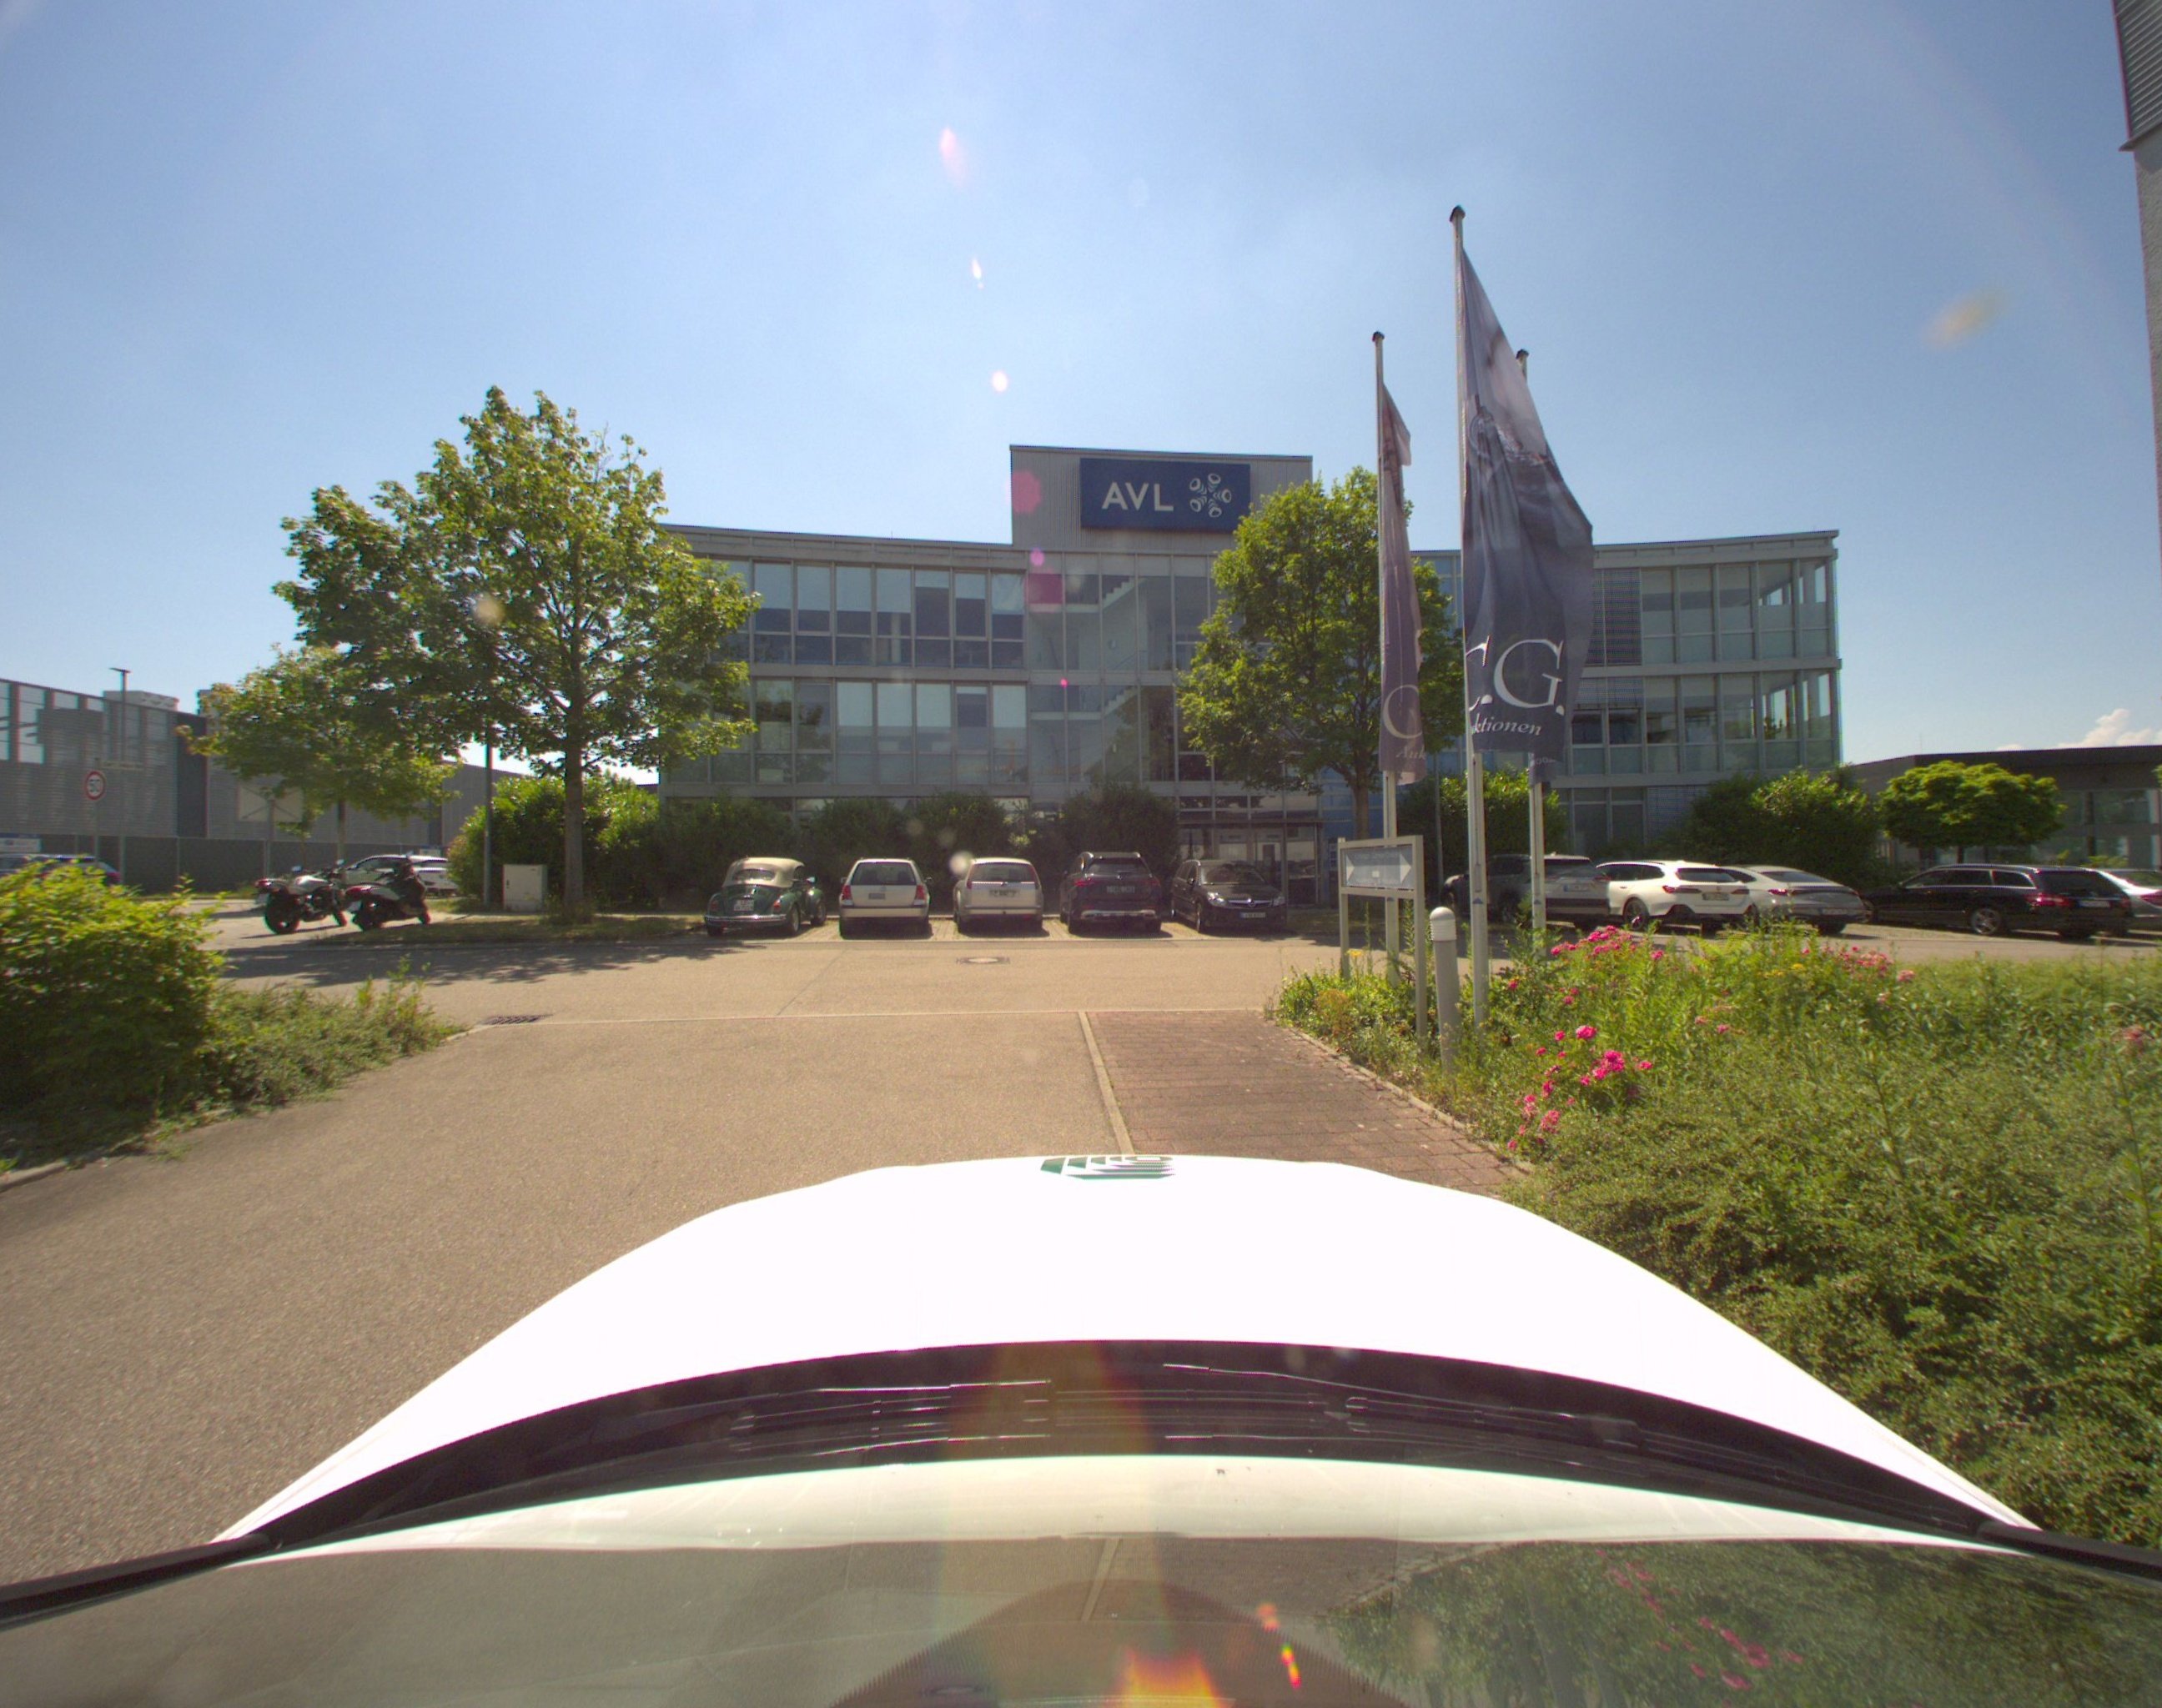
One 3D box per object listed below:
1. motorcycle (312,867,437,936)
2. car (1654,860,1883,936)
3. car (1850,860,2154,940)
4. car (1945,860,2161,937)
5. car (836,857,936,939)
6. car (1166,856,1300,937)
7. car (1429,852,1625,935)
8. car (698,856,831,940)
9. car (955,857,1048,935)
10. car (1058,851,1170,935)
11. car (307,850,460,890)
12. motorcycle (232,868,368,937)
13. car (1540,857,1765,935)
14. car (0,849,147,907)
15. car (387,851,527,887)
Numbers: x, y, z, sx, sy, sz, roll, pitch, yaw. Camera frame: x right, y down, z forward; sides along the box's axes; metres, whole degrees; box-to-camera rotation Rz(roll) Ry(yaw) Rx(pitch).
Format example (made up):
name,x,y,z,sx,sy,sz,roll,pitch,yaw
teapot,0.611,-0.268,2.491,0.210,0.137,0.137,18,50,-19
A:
name,x,y,z,sx,sy,sz,roll,pitch,yaw
motorcycle,-13.004,0.845,15.079,0.712,1.138,1.954,-1,0,-5
car,15.174,0.891,18.342,1.728,1.429,4.345,1,0,4
car,19.672,0.895,17.781,1.728,1.447,4.554,1,0,4
car,22.212,0.897,17.954,1.728,1.447,4.554,1,0,4
car,-3.898,0.812,16.778,1.731,1.449,3.642,0,0,-10
car,3.149,0.815,17.750,1.767,1.482,4.251,-1,0,-5
car,9.885,0.778,18.521,1.817,1.619,4.331,-1,0,-5
car,-6.185,0.789,16.302,1.539,1.449,3.646,0,0,-6
car,-1.811,0.820,17.592,1.765,1.449,3.642,0,0,-10
car,0.578,0.747,17.635,1.924,1.610,3.979,0,0,-5
car,-27.756,0.603,32.469,4.809,1.491,2.006,0,0,9
motorcycle,-14.271,0.850,14.971,0.712,1.138,1.954,-1,0,-5
car,12.486,0.847,18.189,1.733,1.491,4.331,1,0,-5
car,-29.183,0.617,22.740,4.472,1.491,2.006,0,0,9
car,-26.901,0.619,35.184,4.809,1.491,2.006,0,0,9
